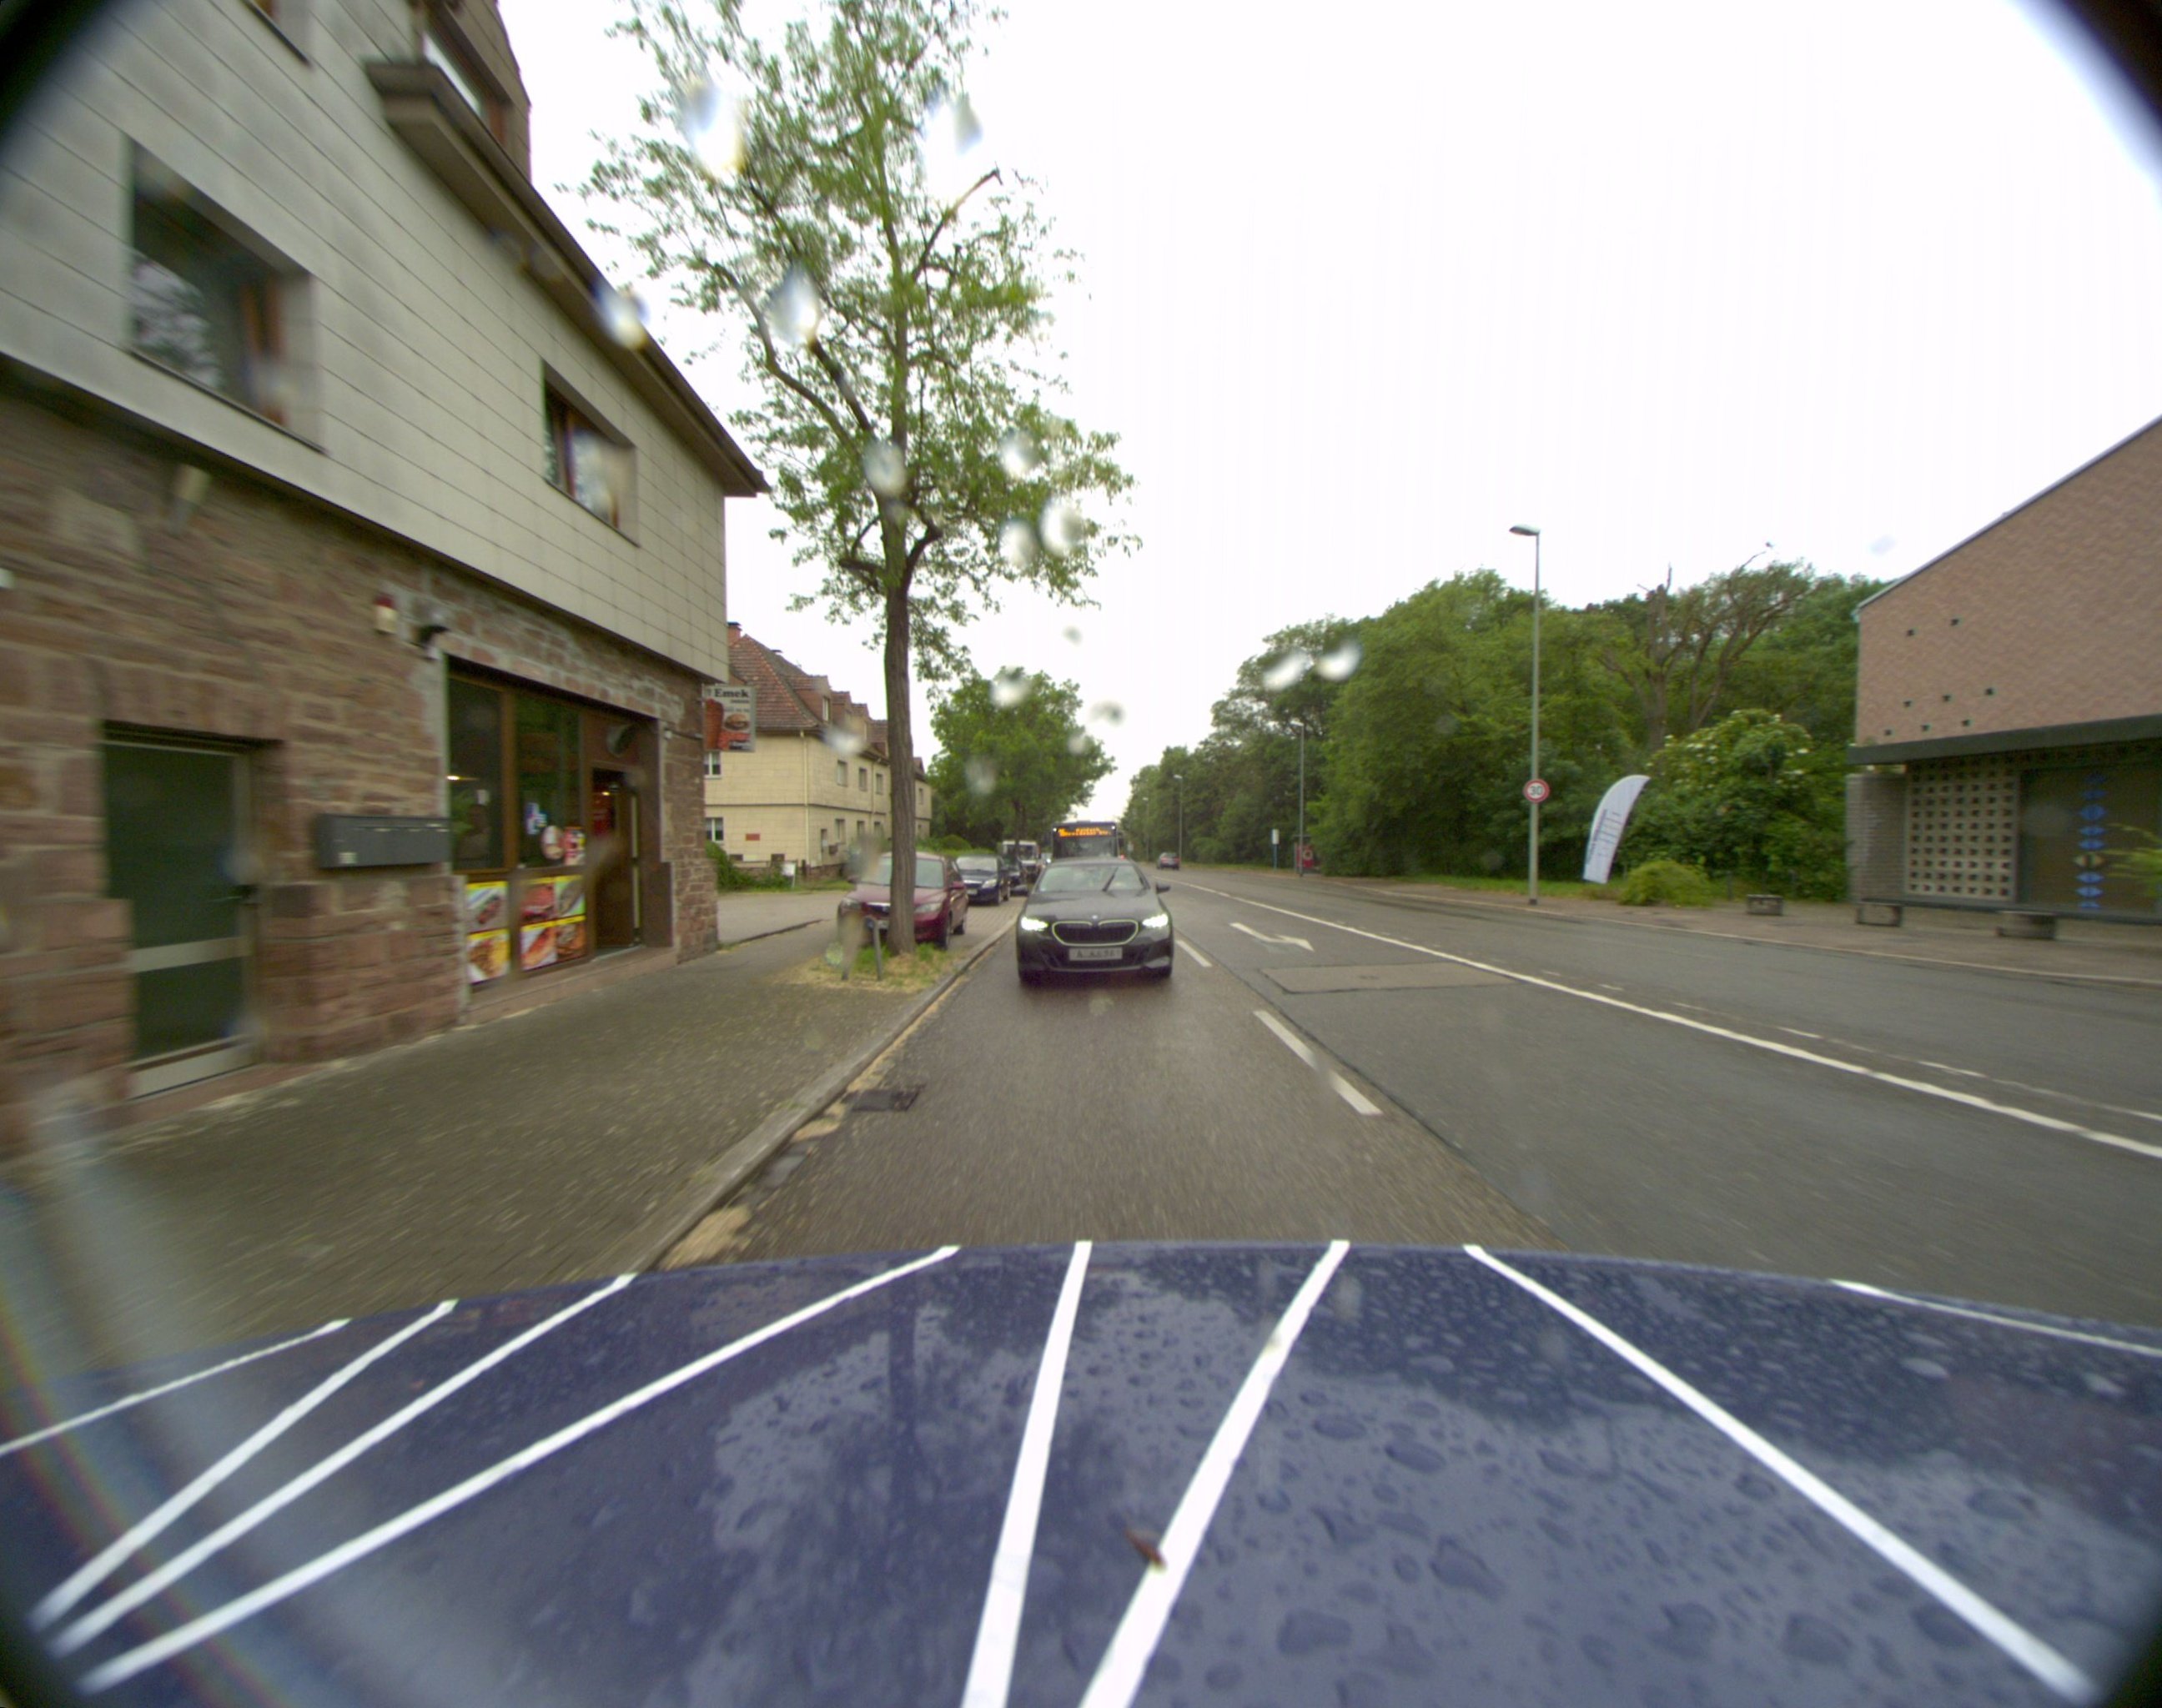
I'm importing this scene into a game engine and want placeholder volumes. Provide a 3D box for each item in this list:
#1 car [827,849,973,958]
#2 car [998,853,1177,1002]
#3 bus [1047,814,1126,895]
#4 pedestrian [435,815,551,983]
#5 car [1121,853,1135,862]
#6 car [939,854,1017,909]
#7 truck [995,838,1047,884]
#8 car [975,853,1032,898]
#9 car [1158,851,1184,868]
[{"bbox_3d":[-2.853,0.740,12.730,1.614,1.494,3.756,-2,-1,-2],"label":"car"},{"bbox_3d":[0.101,0.808,10.484,1.882,1.520,4.316,-3,0,1],"label":"car"},{"bbox_3d":[0.328,-0.061,32.407,2.767,2.858,9.402,-2,1,2],"label":"bus"},{"bbox_3d":[-6.248,0.467,8.089,0.801,1.720,0.485,-2,1,10],"label":"pedestrian"},{"bbox_3d":[8.199,0.645,133.380,1.915,1.445,4.947,3,1,-1],"label":"car"},{"bbox_3d":[-3.005,0.765,22.866,1.720,1.416,3.999,1,1,1],"label":"car"},{"bbox_3d":[-2.957,0.330,38.512,1.998,2.184,5.756,0,0,2],"label":"truck"},{"bbox_3d":[-2.807,0.739,28.182,1.720,1.455,3.999,1,1,-1],"label":"car"},{"bbox_3d":[8.826,0.499,75.108,1.913,1.581,4.316,0,0,-2],"label":"car"}]
